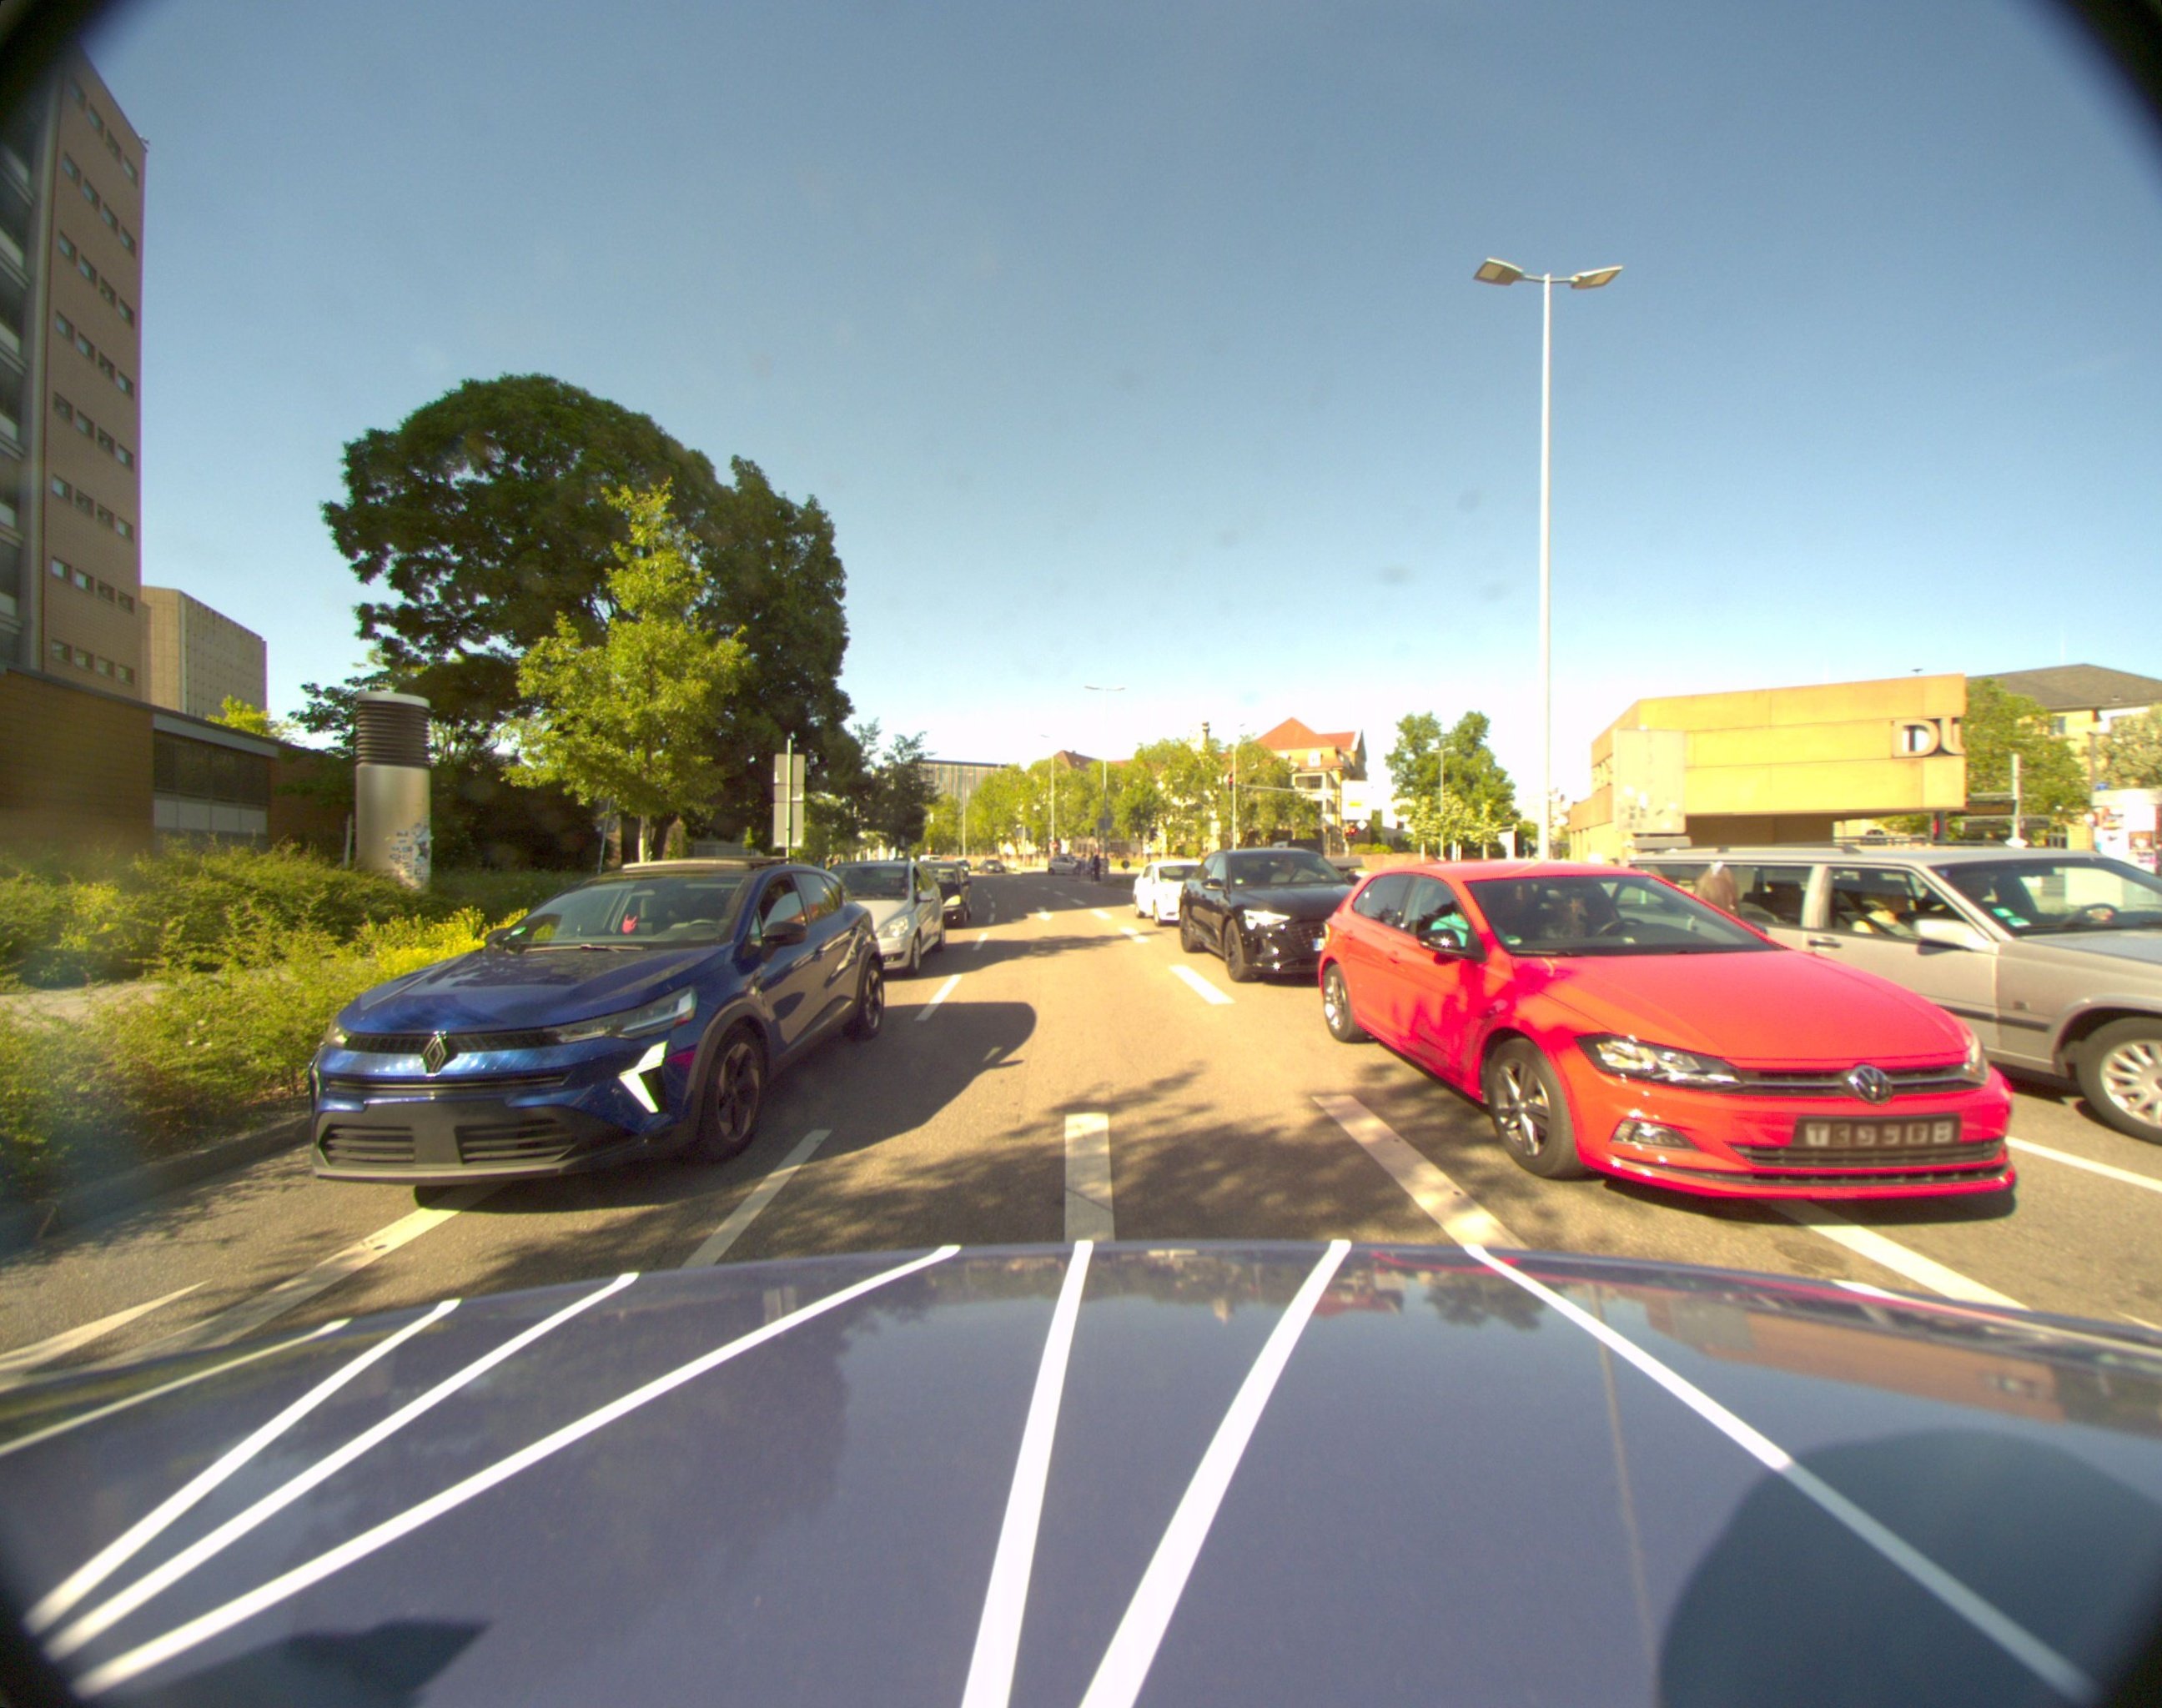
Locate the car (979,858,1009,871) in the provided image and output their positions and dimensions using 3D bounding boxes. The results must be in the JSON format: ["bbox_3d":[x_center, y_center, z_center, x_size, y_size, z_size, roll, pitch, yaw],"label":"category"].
[{"bbox_3d":[-8.656,1.022,75.132,1.588,1.197,3.991,0,0,-28],"label":"car"}]

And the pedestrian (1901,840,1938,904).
[{"bbox_3d":[23.776,0.500,21.555,0.647,1.778,0.666,-3,1,-41],"label":"pedestrian"}]

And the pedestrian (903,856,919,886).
[{"bbox_3d":[-9.343,0.924,41.799,0.660,1.594,0.693,0,0,11],"label":"pedestrian"}]

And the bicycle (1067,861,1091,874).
[{"bbox_3d":[-0.168,1.025,57.018,1.651,0.884,0.591,-2,1,26],"label":"bicycle"}]

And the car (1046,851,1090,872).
[{"bbox_3d":[-1.109,0.636,63.930,3.371,1.669,1.529,-2,-1,35],"label":"car"}]

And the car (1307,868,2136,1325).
[{"bbox_3d":[2.805,0.873,4.560,1.674,1.464,3.853,-2,0,-1],"label":"car"}]

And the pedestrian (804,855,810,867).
[{"bbox_3d":[-44.337,1.145,122.994,0.823,1.906,0.770,-2,1,-26],"label":"pedestrian"}]

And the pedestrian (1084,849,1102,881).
[{"bbox_3d":[0.722,0.619,44.515,0.887,1.814,0.776,-2,1,-7],"label":"pedestrian"}]

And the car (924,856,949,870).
[{"bbox_3d":[-16.041,0.990,84.312,1.884,1.472,3.992,-2,0,-24],"label":"car"}]

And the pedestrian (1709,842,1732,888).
[{"bbox_3d":[24.569,0.417,29.202,0.644,1.766,0.618,0,1,42],"label":"pedestrian"}]

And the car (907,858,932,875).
[{"bbox_3d":[-15.018,1.106,70.751,1.754,1.467,3.568,-2,1,-20],"label":"car"}]

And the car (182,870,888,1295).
[{"bbox_3d":[-2.693,0.958,5.070,1.705,1.596,4.084,-1,0,1],"label":"car"}]

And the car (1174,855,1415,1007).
[{"bbox_3d":[2.570,0.829,10.391,1.859,1.606,4.452,0,0,-3],"label":"car"}]

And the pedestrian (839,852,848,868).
[{"bbox_3d":[-28.706,0.731,91.865,0.823,1.906,0.770,-2,1,-26],"label":"pedestrian"}]

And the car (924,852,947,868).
[{"bbox_3d":[-19.217,0.774,100.253,1.790,2.002,4.223,-2,1,-26],"label":"car"}]

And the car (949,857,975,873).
[{"bbox_3d":[-10.804,1.010,68.870,1.754,1.370,3.568,-1,0,-19],"label":"car"}]

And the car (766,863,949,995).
[{"bbox_3d":[-3.163,0.960,11.585,1.786,1.615,4.042,0,0,-3],"label":"car"}]

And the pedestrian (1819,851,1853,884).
[{"bbox_3d":[30.204,0.543,30.397,0.645,1.303,0.763,-1,0,10],"label":"pedestrian"}]

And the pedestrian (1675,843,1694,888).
[{"bbox_3d":[24.114,0.469,30.374,0.467,1.766,0.647,0,1,29],"label":"pedestrian"}]

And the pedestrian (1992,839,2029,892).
[{"bbox_3d":[31.451,0.394,25.716,0.644,1.766,0.469,0,1,21],"label":"pedestrian"}]

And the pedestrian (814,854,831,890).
[{"bbox_3d":[-11.865,0.818,34.929,0.693,1.594,0.661,0,0,-14],"label":"pedestrian"}]

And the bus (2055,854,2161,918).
[{"bbox_3d":[21.679,0.616,14.120,1.646,1.234,4.181,-1,0,-5],"label":"bus"}]

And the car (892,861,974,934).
[{"bbox_3d":[-3.561,0.985,18.800,1.651,1.601,3.488,0,0,-6],"label":"car"}]

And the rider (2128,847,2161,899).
[{"bbox_3d":[30.669,0.530,21.605,0.668,1.455,0.862,0,0,20],"label":"rider"}]

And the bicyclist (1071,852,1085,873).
[{"bbox_3d":[-0.215,0.609,57.000,0.814,1.549,0.696,-2,1,26],"label":"bicyclist"}]

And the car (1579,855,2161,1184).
[{"bbox_3d":[5.777,0.776,4.994,1.713,1.464,4.751,-2,-1,-2],"label":"car"}]

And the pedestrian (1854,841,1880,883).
[{"bbox_3d":[33.159,0.338,32.069,0.645,1.766,0.468,-1,1,-4],"label":"pedestrian"}]

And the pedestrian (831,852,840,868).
[{"bbox_3d":[-29.694,0.767,91.780,0.823,1.906,0.770,-2,1,-26],"label":"pedestrian"}]

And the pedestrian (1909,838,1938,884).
[{"bbox_3d":[33.038,0.267,29.806,0.645,1.766,0.468,-1,1,-4],"label":"pedestrian"}]

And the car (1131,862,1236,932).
[{"bbox_3d":[2.279,0.922,17.838,1.575,1.410,3.711,-2,0,-6],"label":"car"}]

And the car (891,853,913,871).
[{"bbox_3d":[-19.246,0.876,81.633,1.830,1.842,3.745,0,0,-21],"label":"car"}]

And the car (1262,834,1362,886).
[{"bbox_3d":[11.073,0.262,37.075,2.117,2.300,6.209,-1,0,-10],"label":"car"}]

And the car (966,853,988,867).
[{"bbox_3d":[-12.009,0.656,87.778,1.598,1.596,3.066,-1,0,-26],"label":"car"}]

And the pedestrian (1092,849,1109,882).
[{"bbox_3d":[1.103,0.642,43.231,0.756,1.814,0.776,-2,1,-7],"label":"pedestrian"}]
